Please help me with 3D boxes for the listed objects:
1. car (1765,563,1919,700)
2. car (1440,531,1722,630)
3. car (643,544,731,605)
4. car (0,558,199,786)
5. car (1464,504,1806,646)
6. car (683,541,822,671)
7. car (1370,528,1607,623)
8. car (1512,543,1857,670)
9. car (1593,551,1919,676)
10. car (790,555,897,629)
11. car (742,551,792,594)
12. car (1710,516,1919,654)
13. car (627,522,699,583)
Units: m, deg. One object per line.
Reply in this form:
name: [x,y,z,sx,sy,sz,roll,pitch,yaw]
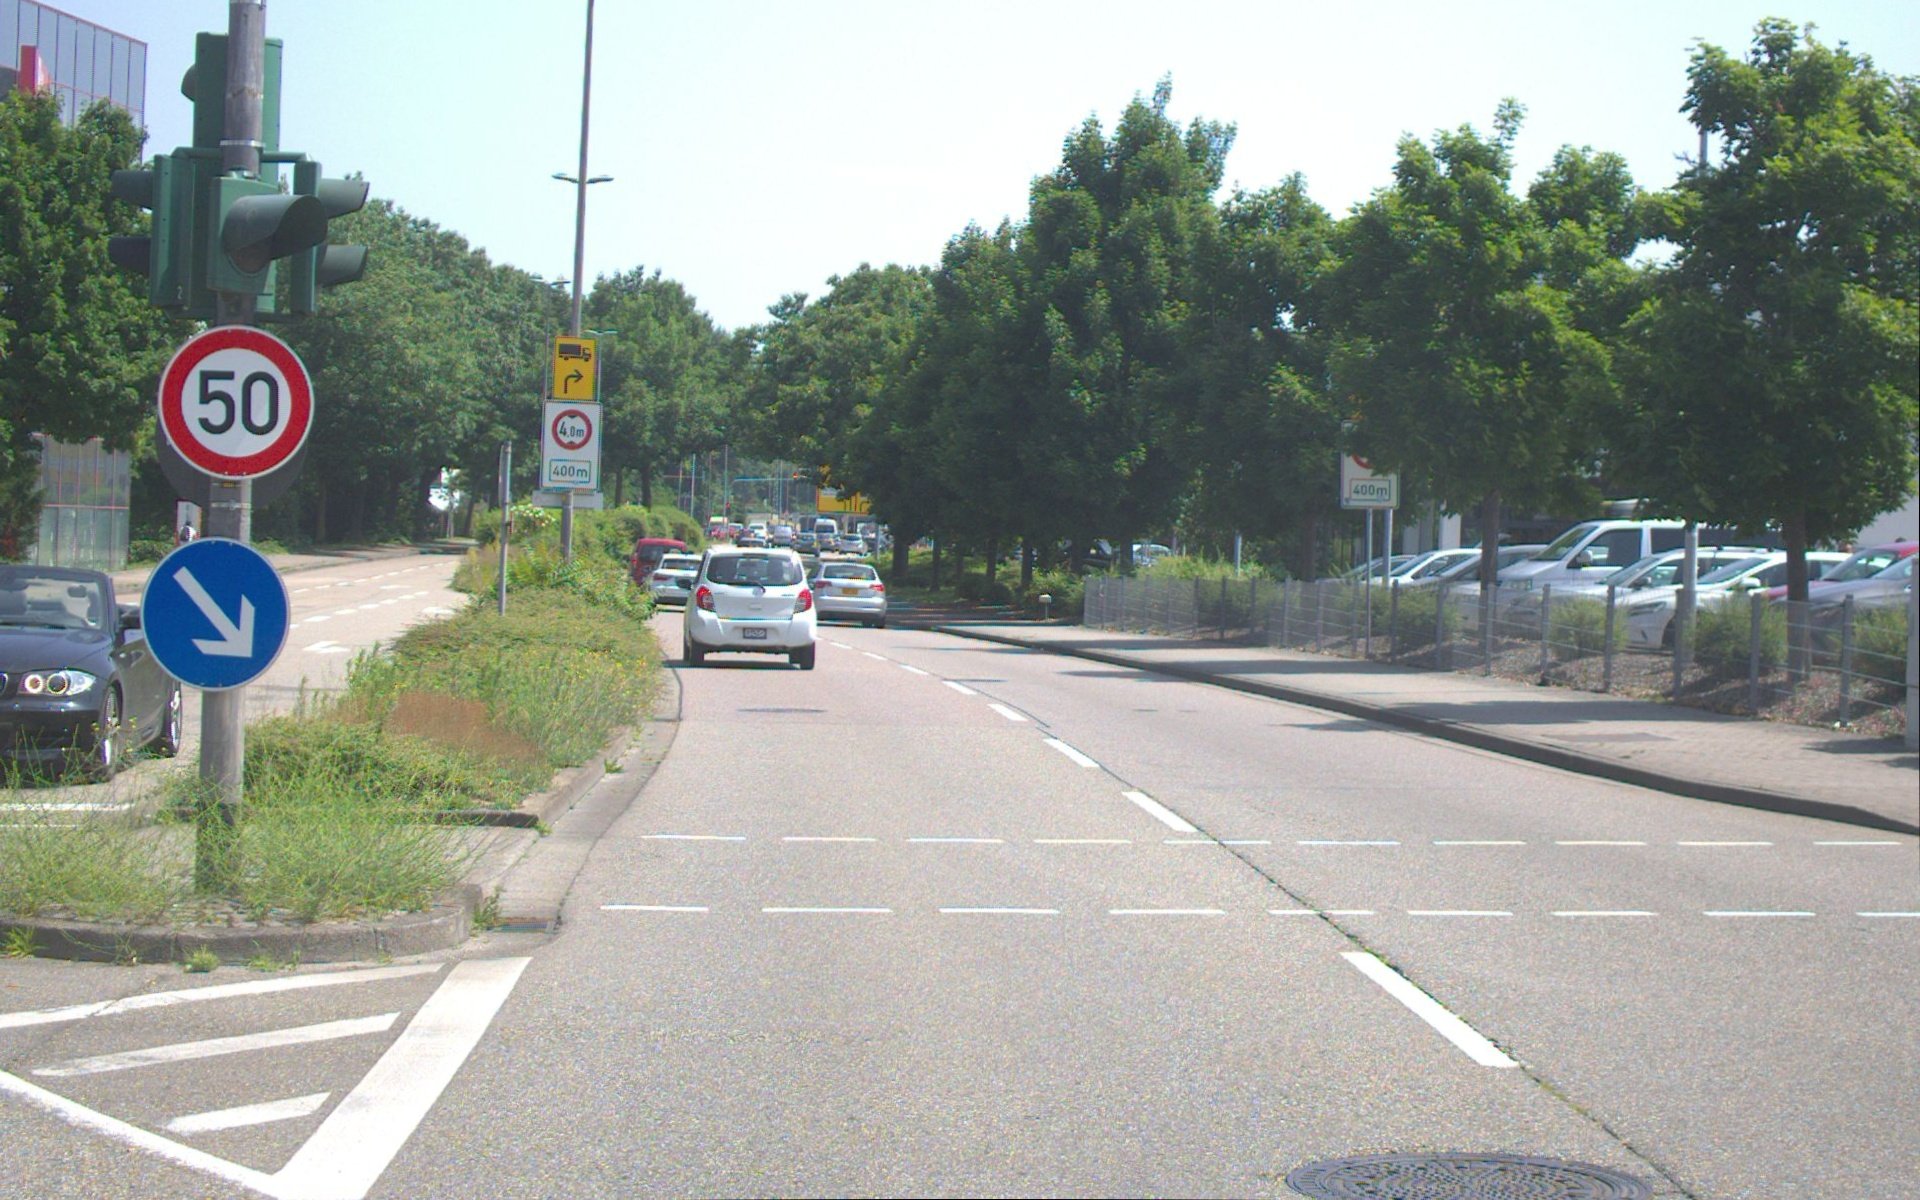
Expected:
car: [11.194,0.382,37.878,4.169,1.416,1.698,2,1,-3]
car: [9.759,-0.319,54.170,3.986,1.385,1.827,2,1,-5]
car: [-6.710,-0.644,84.191,1.884,1.349,4.001,3,1,-7]
car: [-6.125,0.404,22.547,1.729,1.319,4.150,1,1,-6]
car: [10.018,-0.384,51.215,4.616,1.918,1.827,2,1,-5]
car: [-2.726,0.048,44.692,1.638,1.546,3.326,3,1,-5]
car: [9.928,-0.470,64.703,3.986,1.590,1.827,3,1,-9]
car: [10.139,0.071,48.295,4.366,1.587,1.827,2,1,-3]
car: [10.263,0.161,43.698,3.995,1.416,1.698,2,1,-5]
car: [-2.598,-0.204,76.066,1.865,1.468,4.001,3,1,-8]
car: [-6.318,-0.920,112.247,1.441,1.343,3.461,1,1,-6]
car: [11.004,-0.162,40.972,3.588,1.531,1.724,2,1,-9]
car: [-8.589,-1.387,99.134,1.884,1.603,4.001,3,1,-6]
